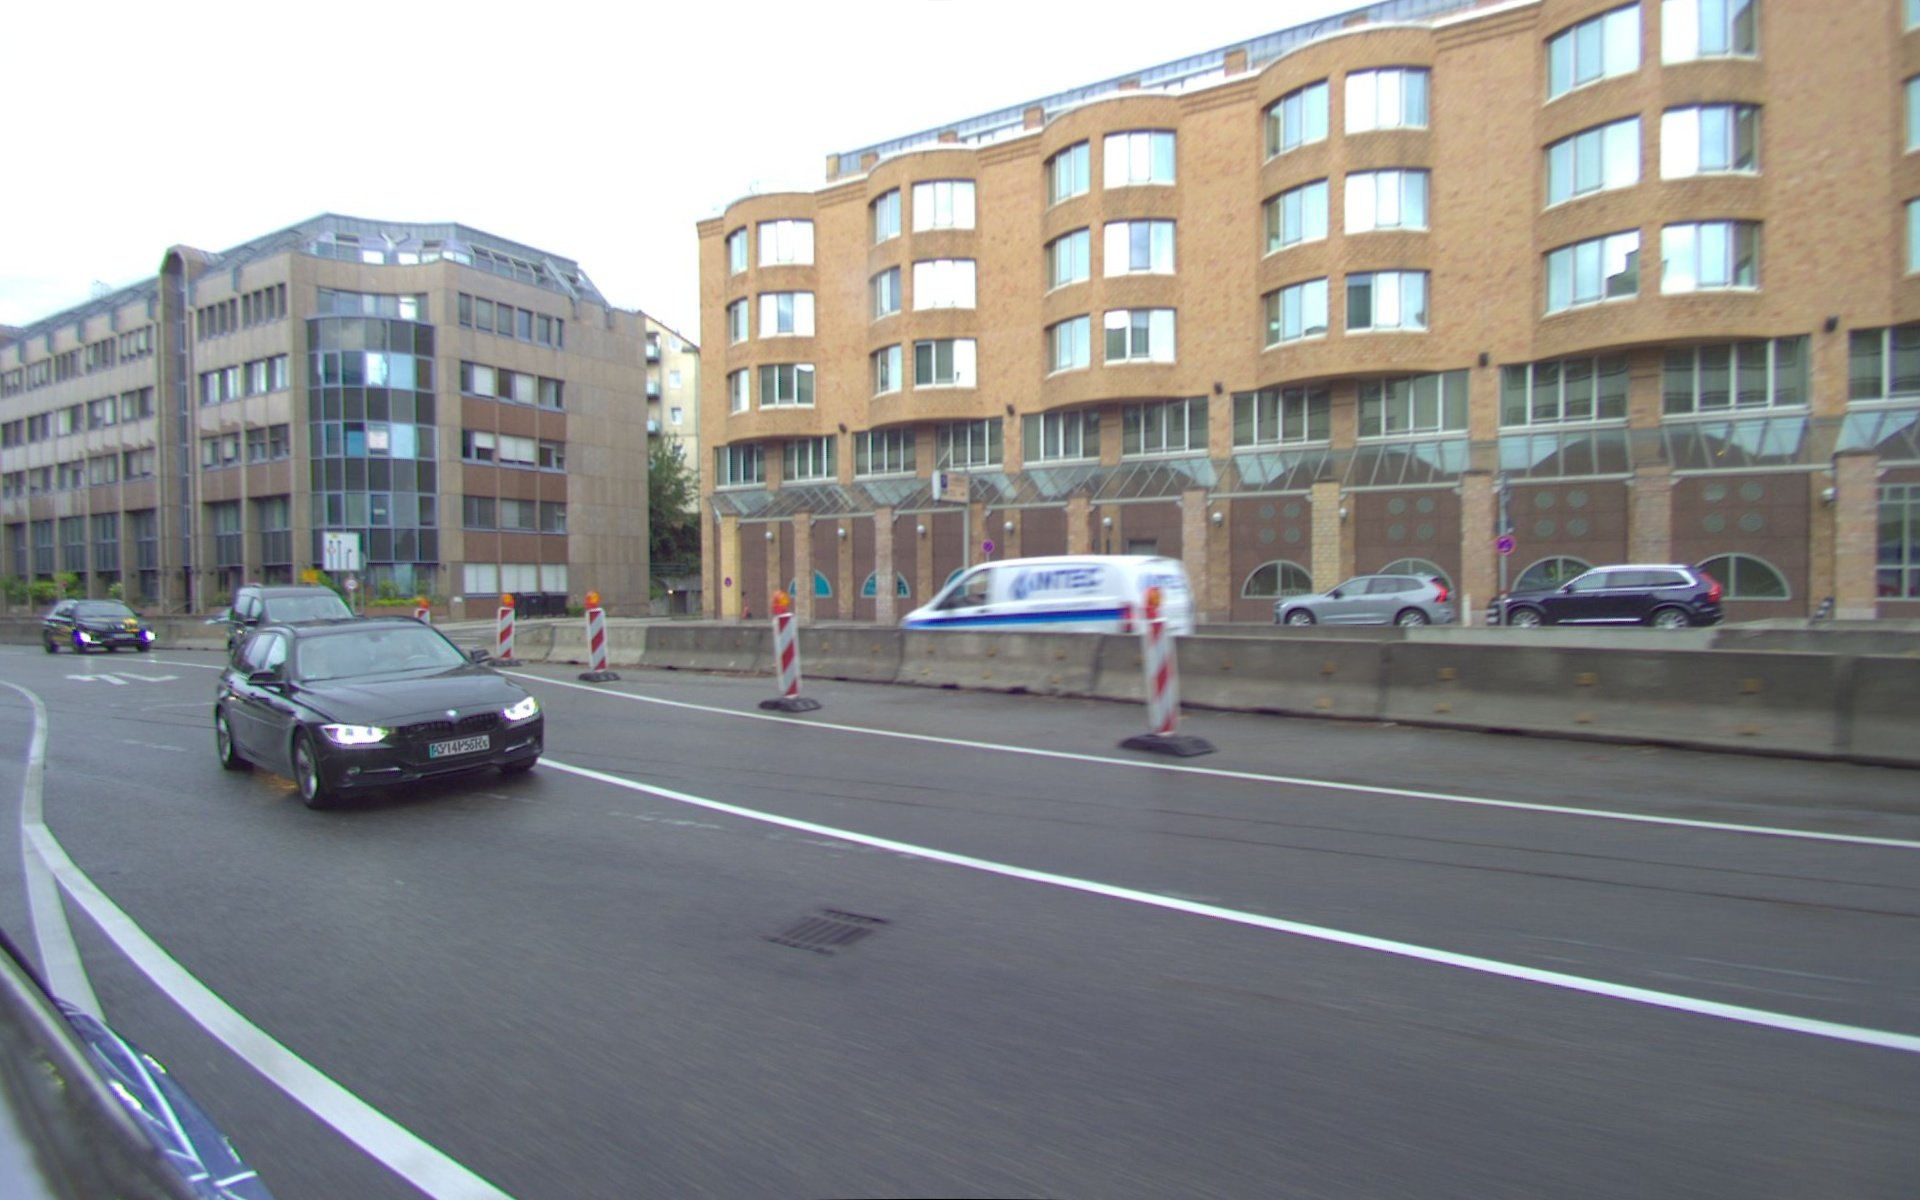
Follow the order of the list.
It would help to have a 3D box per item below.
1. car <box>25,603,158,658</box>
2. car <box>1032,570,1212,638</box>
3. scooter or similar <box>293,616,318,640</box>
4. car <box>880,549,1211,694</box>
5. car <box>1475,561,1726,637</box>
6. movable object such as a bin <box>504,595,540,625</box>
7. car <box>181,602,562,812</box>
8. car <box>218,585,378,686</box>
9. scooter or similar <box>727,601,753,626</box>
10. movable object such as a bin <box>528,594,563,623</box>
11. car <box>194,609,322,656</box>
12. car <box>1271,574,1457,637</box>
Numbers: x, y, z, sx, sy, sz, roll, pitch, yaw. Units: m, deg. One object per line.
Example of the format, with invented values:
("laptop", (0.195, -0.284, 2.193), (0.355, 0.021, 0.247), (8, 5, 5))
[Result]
("car", (-26.283, 0.905, 30.593), (4.340, 1.545, 1.755), (-1, 0, 31))
("car", (4.872, 0.138, 30.588), (4.992, 1.900, 1.980), (-1, 0, 29))
("scooter or similar", (-30.367, 1.307, 46.958), (1.037, 1.071, 0.447), (-1, 0, 20))
("car", (1.182, 0.301, 15.632), (4.868, 1.899, 1.973), (-1, 0, 41))
("car", (15.641, 0.007, 25.006), (5.034, 1.703, 1.978), (-1, 0, 33))
("movable object such as a bin", (-22.612, 0.530, 52.253), (1.348, 1.491, 1.231), (-1, 0, 38))
("car", (-5.654, 0.797, 9.422), (4.655, 1.454, 1.749), (-1, 0, 43))
("car", (-13.452, 0.655, 20.457), (4.252, 1.814, 1.774), (-1, 1, 44))
("scooter or similar", (-9.750, 0.615, 44.774), (1.037, 1.071, 0.447), (-1, 0, 20))
("movable object such as a bin", (-21.872, 0.426, 53.397), (1.348, 1.491, 1.231), (-1, 0, 38))
("car", (-23.956, 1.080, 34.501), (4.211, 1.470, 1.980), (-1, 0, 30))
("car", (11.092, 0.164, 27.834), (4.521, 1.606, 1.980), (-1, 0, 29))
